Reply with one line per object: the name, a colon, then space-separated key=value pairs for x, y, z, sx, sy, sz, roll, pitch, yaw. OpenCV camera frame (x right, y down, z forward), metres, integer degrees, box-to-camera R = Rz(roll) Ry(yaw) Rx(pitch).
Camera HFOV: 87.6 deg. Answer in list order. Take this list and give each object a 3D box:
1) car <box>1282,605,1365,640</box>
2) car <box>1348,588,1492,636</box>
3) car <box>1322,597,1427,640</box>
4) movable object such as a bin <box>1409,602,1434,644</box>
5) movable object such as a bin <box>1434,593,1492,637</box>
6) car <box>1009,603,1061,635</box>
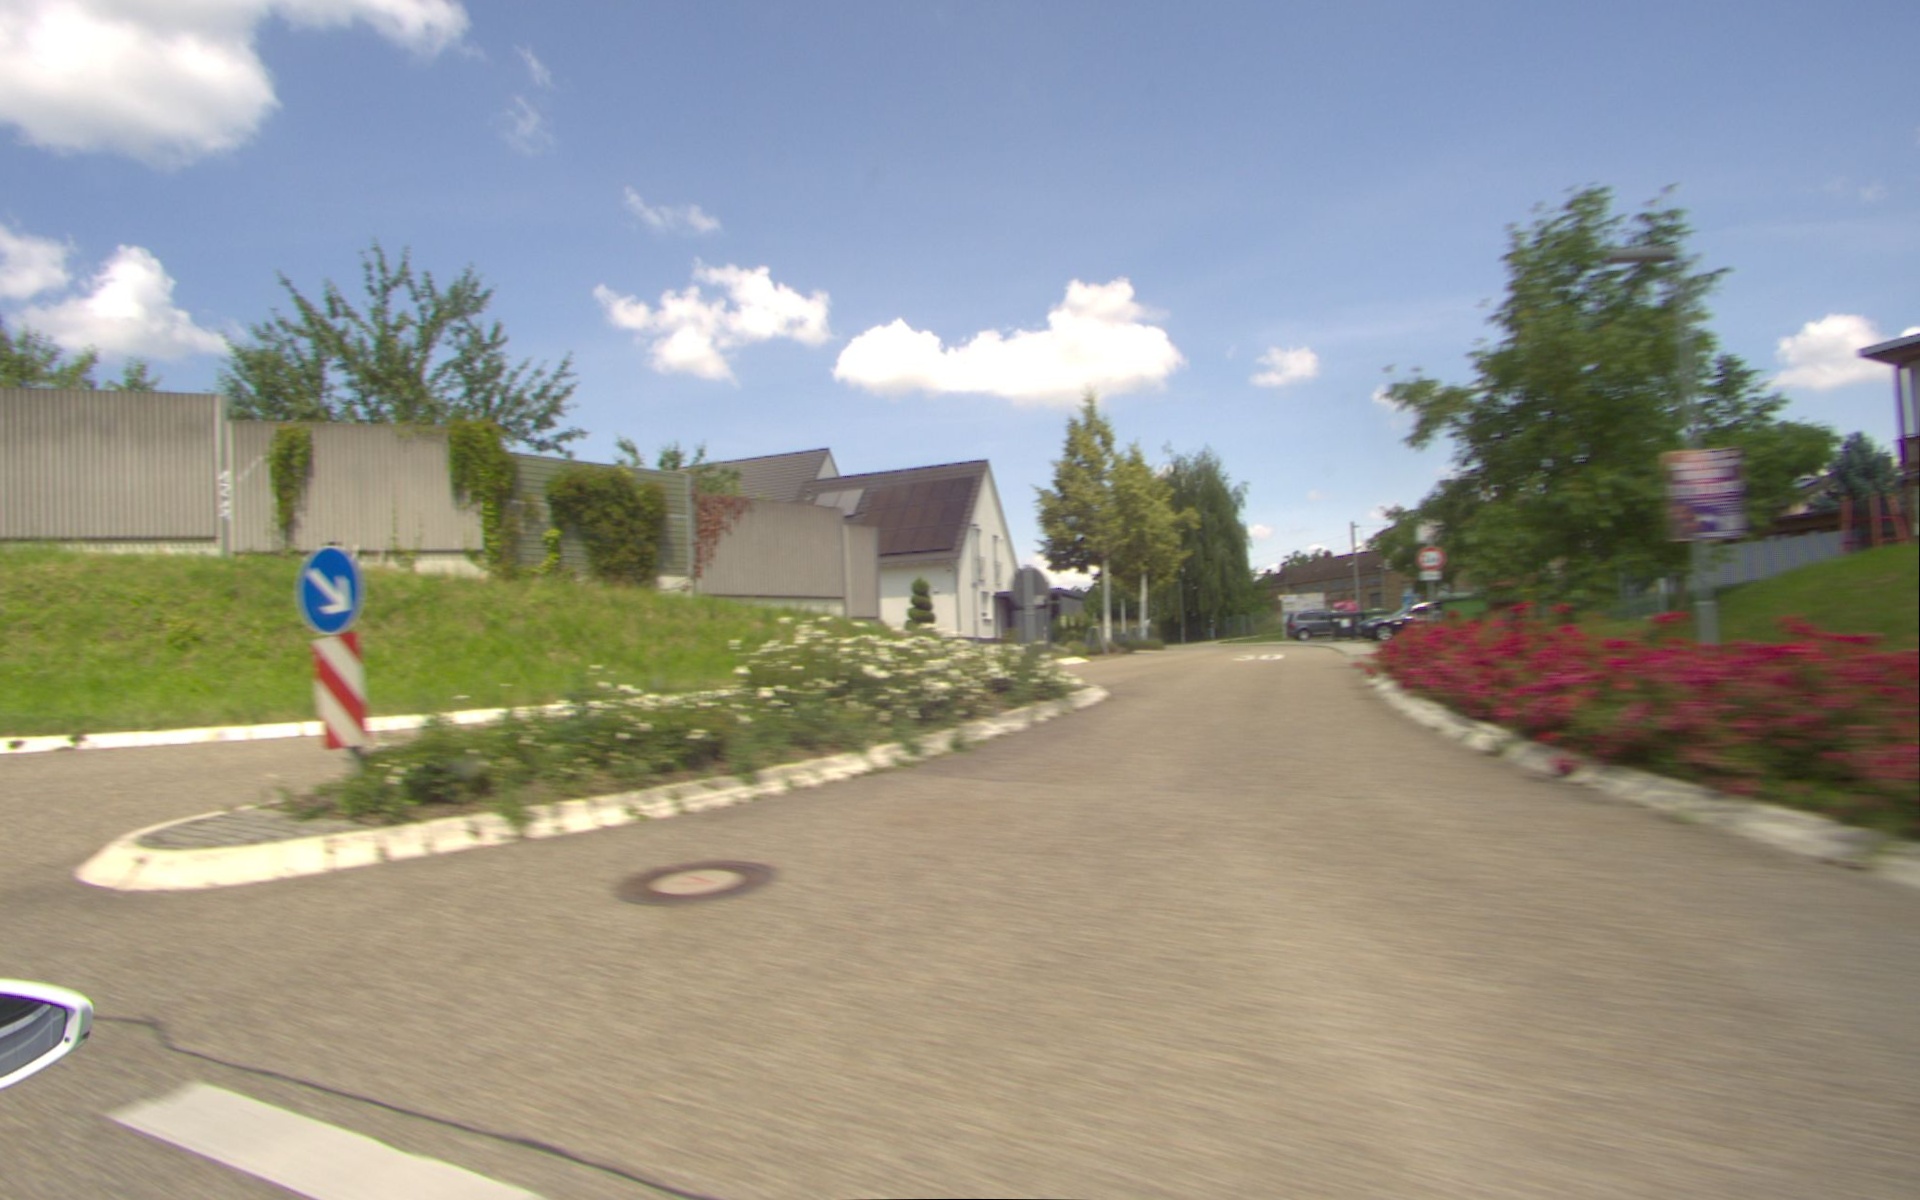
car: x=20.432 y=1.265 z=56.430 sx=4.148 sy=1.790 sz=2.001 roll=0 pitch=-4 yaw=12
car: x=18.517 y=0.501 z=40.564 sx=4.966 sy=1.790 sz=2.001 roll=0 pitch=-4 yaw=12
car: x=18.929 y=0.874 z=45.929 sx=4.148 sy=1.790 sz=2.001 roll=0 pitch=-4 yaw=12
movable object such as a bin: x=12.698 y=0.639 z=27.585 sx=0.616 sy=1.093 sz=0.624 roll=-1 pitch=-4 yaw=24
movable object such as a bin: x=13.618 y=0.430 z=27.146 sx=1.344 sy=1.116 sz=0.966 roll=-1 pitch=-5 yaw=25
car: x=3.766 y=0.971 z=49.670 sx=1.861 sy=1.422 sz=4.237 roll=0 pitch=-3 yaw=15
